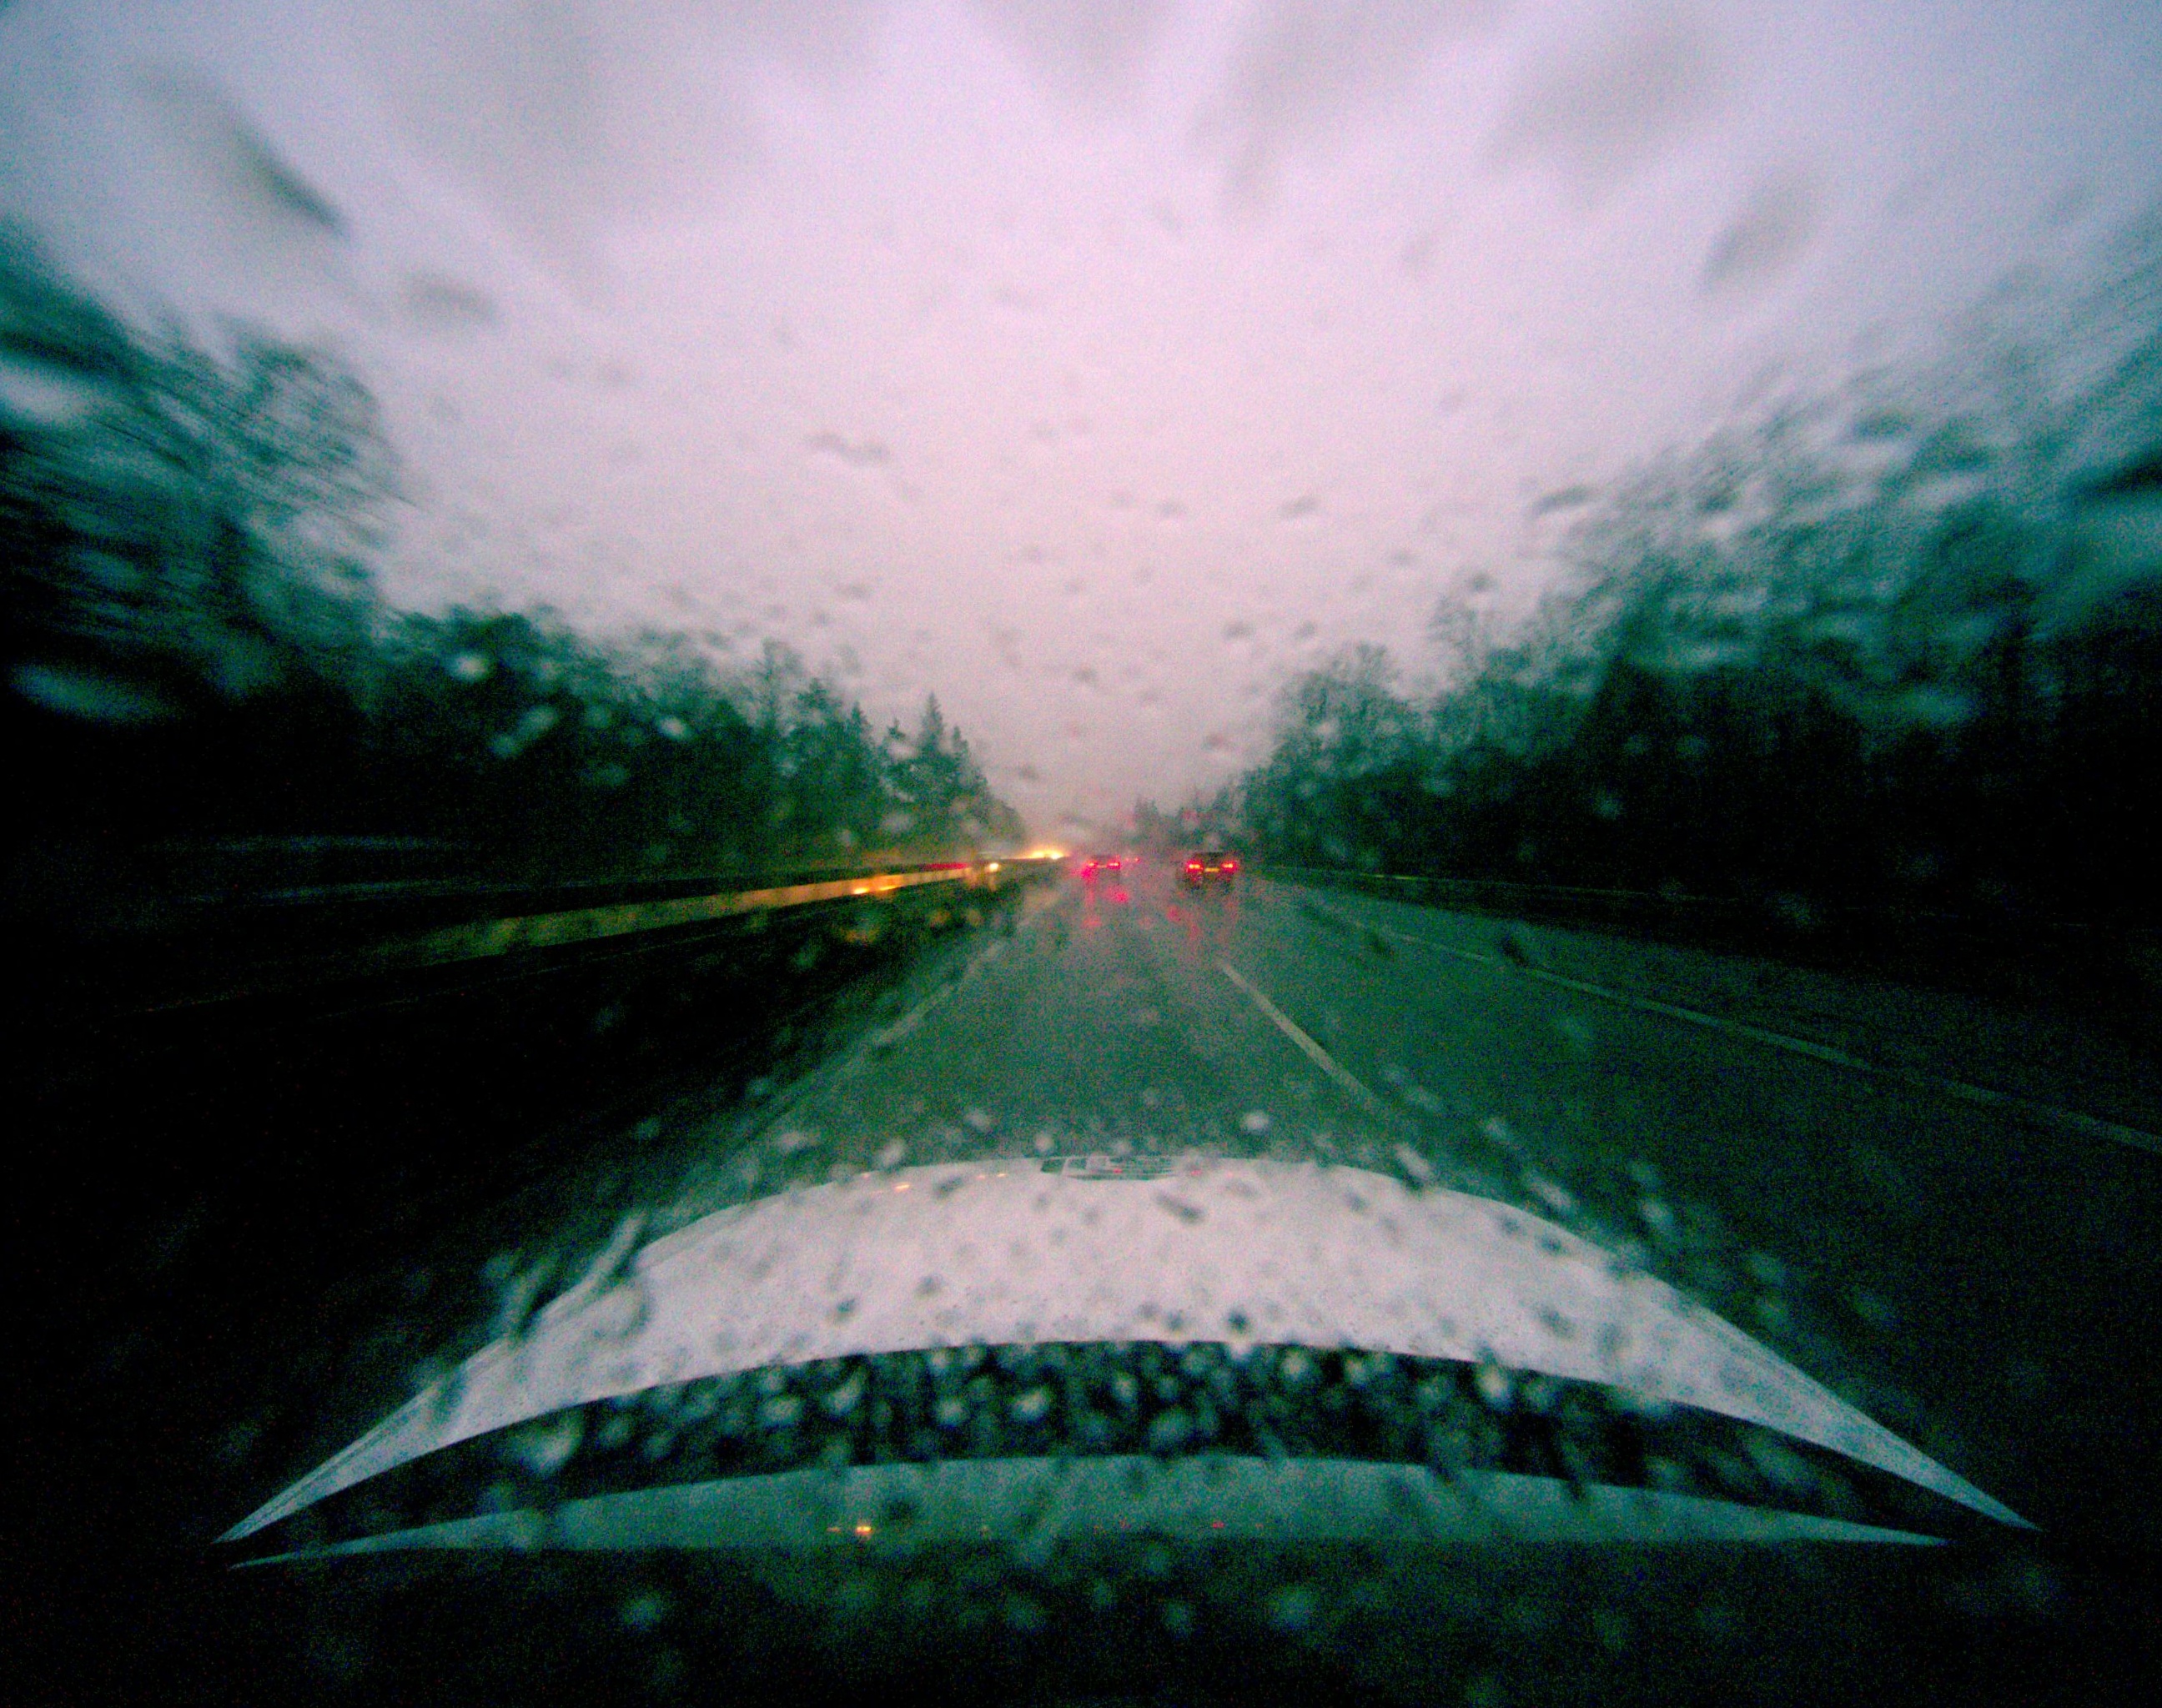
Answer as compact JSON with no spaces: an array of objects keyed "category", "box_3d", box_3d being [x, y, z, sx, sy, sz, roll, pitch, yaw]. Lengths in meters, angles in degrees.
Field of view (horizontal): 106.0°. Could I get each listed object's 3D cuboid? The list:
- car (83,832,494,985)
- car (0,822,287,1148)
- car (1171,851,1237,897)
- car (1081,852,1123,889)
[{"category":"car","box_3d":[-10.834,0.650,11.642,1.848,1.799,4.002,0,0,2]},{"category":"car","box_3d":[-7.503,0.805,4.428,1.846,1.982,4.599,0,0,0]},{"category":"car","box_3d":[4.862,0.767,32.857,2.063,1.698,4.462,0,0,1]},{"category":"car","box_3d":[1.101,0.810,42.046,1.979,1.767,4.175,-2,0,2]}]
